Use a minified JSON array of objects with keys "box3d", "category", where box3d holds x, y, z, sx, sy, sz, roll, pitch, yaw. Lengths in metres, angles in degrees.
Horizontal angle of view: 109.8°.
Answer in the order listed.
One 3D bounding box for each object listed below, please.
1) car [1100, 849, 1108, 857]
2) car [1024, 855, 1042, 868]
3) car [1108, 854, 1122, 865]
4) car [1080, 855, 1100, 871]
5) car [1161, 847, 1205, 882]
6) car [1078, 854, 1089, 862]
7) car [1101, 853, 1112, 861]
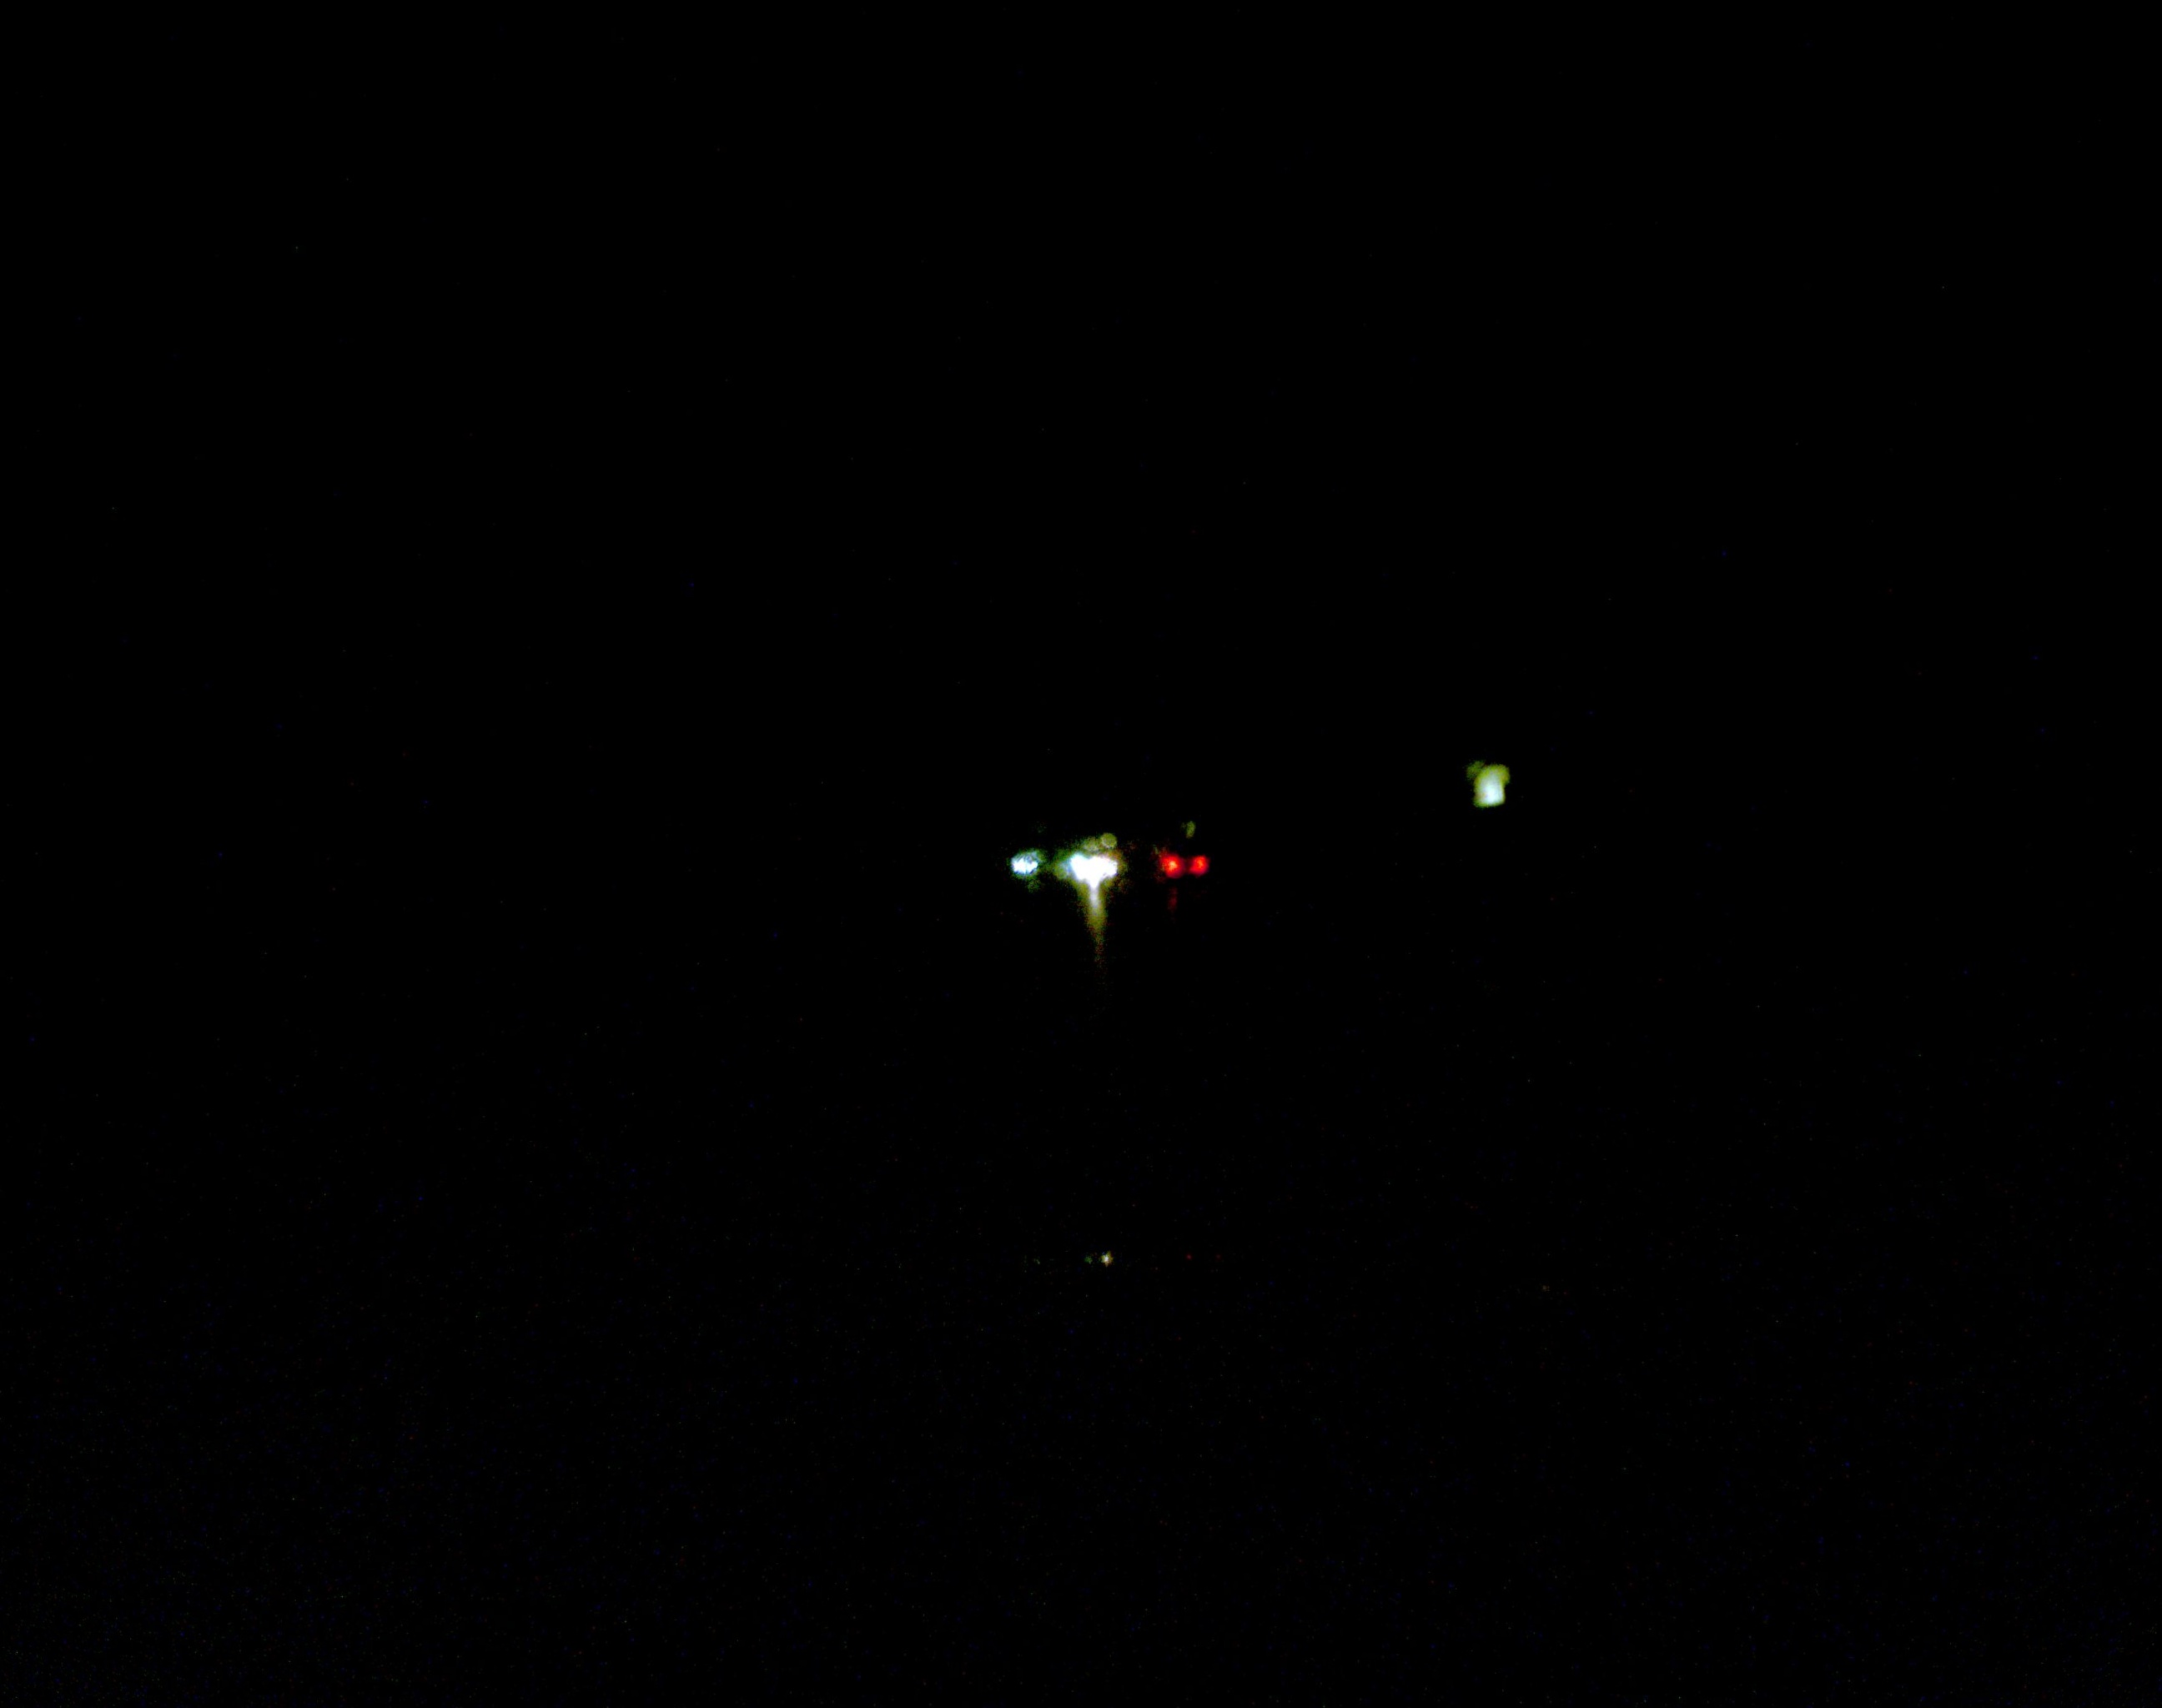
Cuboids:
[{"box3d":[5.439,-0.281,183.229,1.795,1.681,4.000,-2,0,1],"category":"car"},{"box3d":[-5.861,0.929,92.911,1.999,1.575,3.999,-2,0,-2],"category":"car"},{"box3d":[5.096,0.777,114.490,1.998,1.490,3.775,-2,0,4],"category":"car"},{"box3d":[0.923,0.885,79.086,1.998,1.576,4.000,-2,0,0],"category":"car"},{"box3d":[5.037,0.489,38.011,1.813,1.612,4.000,-1,0,3],"category":"car"},{"box3d":[0.424,0.731,147.490,1.998,1.410,4.665,-2,0,0],"category":"car"},{"box3d":[5.071,0.562,149.708,1.998,1.410,4.665,-2,0,0],"category":"car"}]
